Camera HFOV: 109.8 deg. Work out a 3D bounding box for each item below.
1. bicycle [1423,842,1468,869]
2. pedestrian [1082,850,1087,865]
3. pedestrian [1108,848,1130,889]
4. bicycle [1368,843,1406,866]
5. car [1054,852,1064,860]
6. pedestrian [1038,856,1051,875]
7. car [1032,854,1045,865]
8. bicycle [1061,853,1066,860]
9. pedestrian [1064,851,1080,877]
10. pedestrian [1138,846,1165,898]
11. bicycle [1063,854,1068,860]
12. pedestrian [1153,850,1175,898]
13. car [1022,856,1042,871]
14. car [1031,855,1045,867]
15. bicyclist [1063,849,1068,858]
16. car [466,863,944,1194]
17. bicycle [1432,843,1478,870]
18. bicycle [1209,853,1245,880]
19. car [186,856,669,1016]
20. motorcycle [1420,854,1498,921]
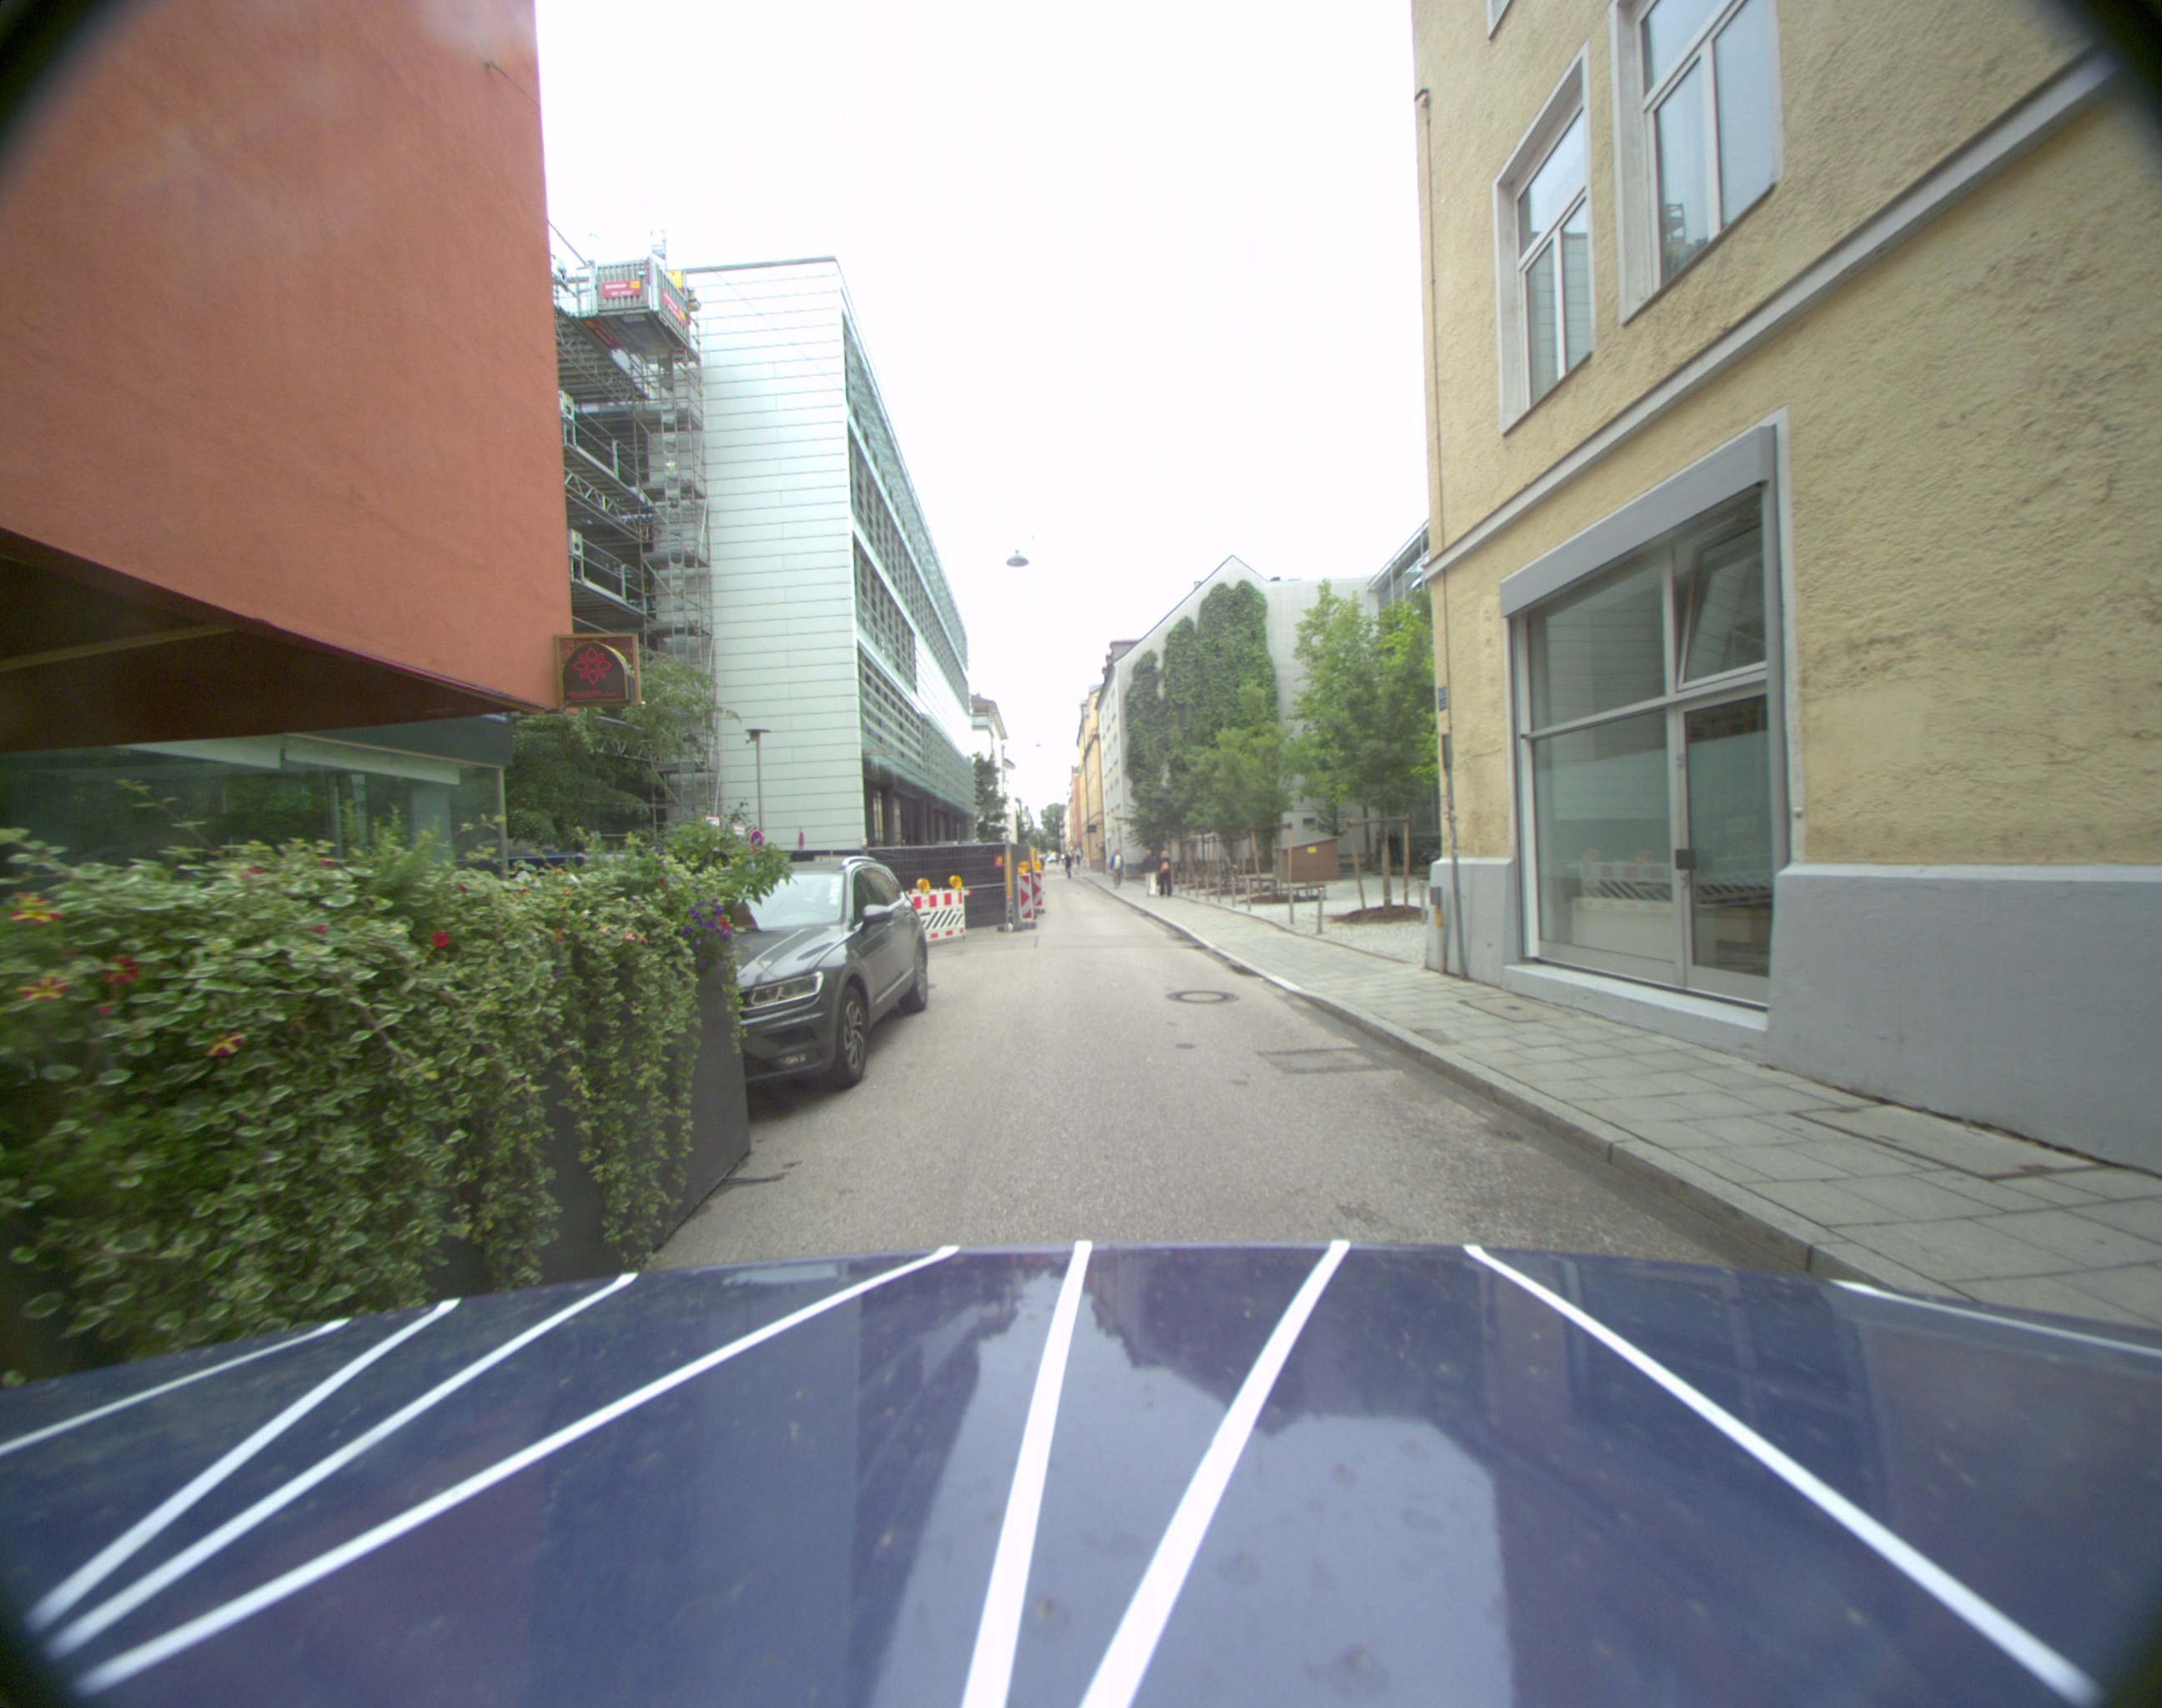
[{"bbox_3d":[15.610,0.070,32.544,1.575,1.054,0.629,-3,1,1],"label":"bicycle"},{"bbox_3d":[0.424,0.421,95.788,0.493,1.814,0.552,-2,0,-3],"label":"pedestrian"},{"bbox_3d":[1.776,0.668,35.914,0.861,1.834,0.974,-3,1,-1],"label":"pedestrian"},{"bbox_3d":[16.070,0.022,39.944,1.724,1.135,0.603,-3,1,4],"label":"bicycle"},{"bbox_3d":[-4.536,0.332,155.845,1.999,1.583,4.374,-3,0,-2],"label":"car"},{"bbox_3d":[-3.022,0.968,62.890,0.712,1.542,0.775,-4,1,-24],"label":"pedestrian"},{"bbox_3d":[-6.570,0.787,117.296,1.794,1.550,3.999,-3,0,-2],"label":"car"},{"bbox_3d":[-2.723,0.373,116.534,0.700,0.976,1.948,-3,0,-3],"label":"bicycle"},{"bbox_3d":[-0.684,0.738,56.830,0.746,1.891,0.877,-4,1,-34],"label":"pedestrian"},{"bbox_3d":[2.591,0.642,27.875,0.778,1.826,0.991,-3,1,-2],"label":"pedestrian"},{"bbox_3d":[-2.376,0.412,118.352,0.700,0.926,1.693,-3,0,-3],"label":"bicycle"},{"bbox_3d":[2.935,0.695,26.814,0.554,1.650,0.997,-3,1,-2],"label":"pedestrian"},{"bbox_3d":[-4.991,0.989,77.795,1.810,1.390,3.999,-3,0,-2],"label":"car"},{"bbox_3d":[-5.386,0.855,94.750,1.625,1.259,4.328,-3,0,-2],"label":"car"},{"bbox_3d":[-2.387,-0.082,118.388,0.718,1.399,0.965,-3,1,-3],"label":"bicyclist"},{"bbox_3d":[-2.507,1.005,6.476,1.829,1.700,4.388,-3,0,-1],"label":"car"},{"bbox_3d":[15.617,0.107,31.716,1.575,1.054,0.629,-3,1,1],"label":"bicycle"},{"bbox_3d":[6.912,0.603,36.043,0.714,1.201,1.995,-4,1,-20],"label":"bicycle"},{"bbox_3d":[-8.095,0.952,9.789,4.474,1.710,1.840,-2,0,-2],"label":"car"},{"bbox_3d":[7.323,0.617,14.834,0.577,1.166,1.981,-3,1,3],"label":"motorcycle"}]
